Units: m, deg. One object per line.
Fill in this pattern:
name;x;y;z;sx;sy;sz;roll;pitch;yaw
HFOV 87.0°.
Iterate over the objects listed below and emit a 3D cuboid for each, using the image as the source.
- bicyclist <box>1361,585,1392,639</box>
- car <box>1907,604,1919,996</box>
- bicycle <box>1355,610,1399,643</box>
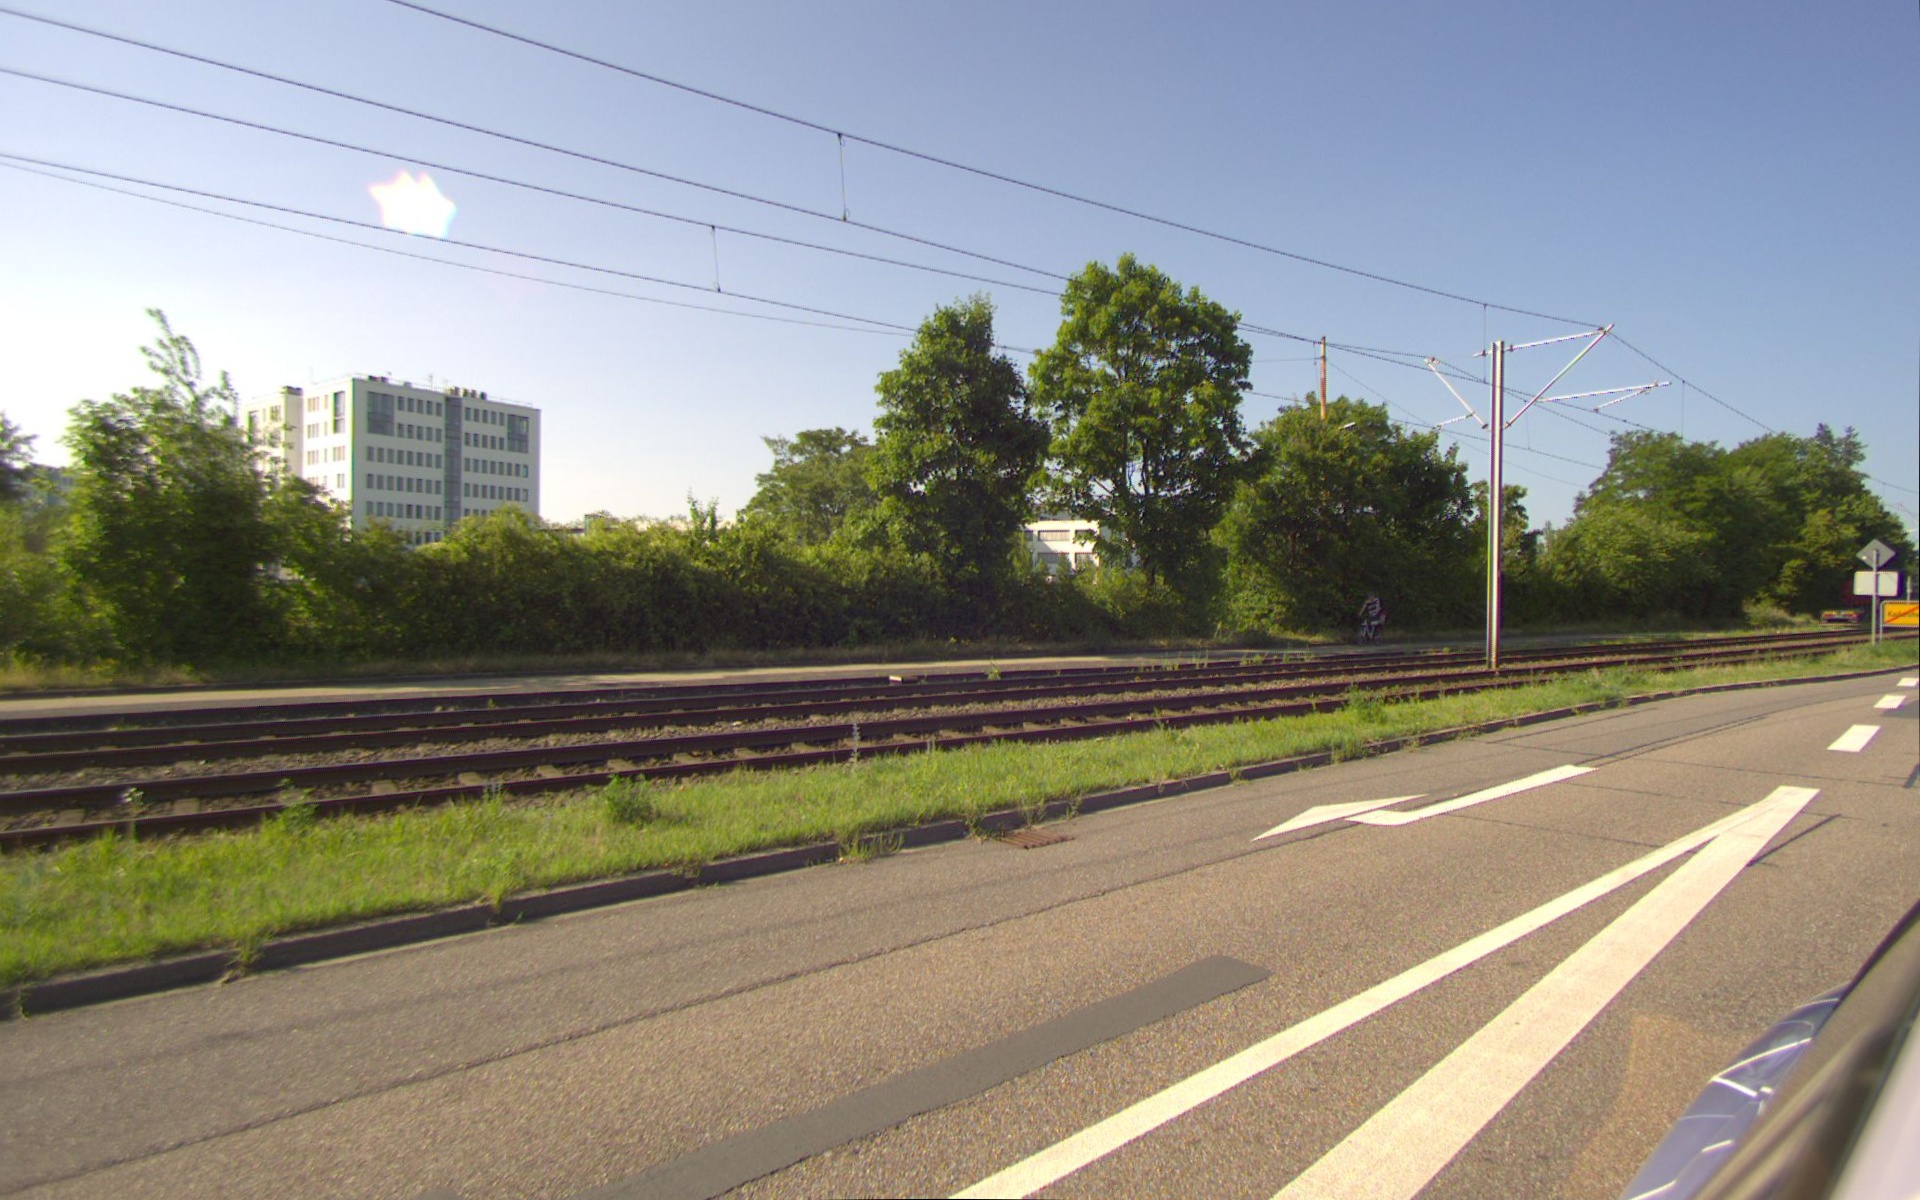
bicyclist;14.132;0.396;34.315;0.704;1.830;0.708;0;0;-38
car;5.757;0.735;4.497;4.383;1.442;1.819;0;0;-41
bicycle;14.146;0.886;34.300;1.840;1.060;0.547;0;1;-39
